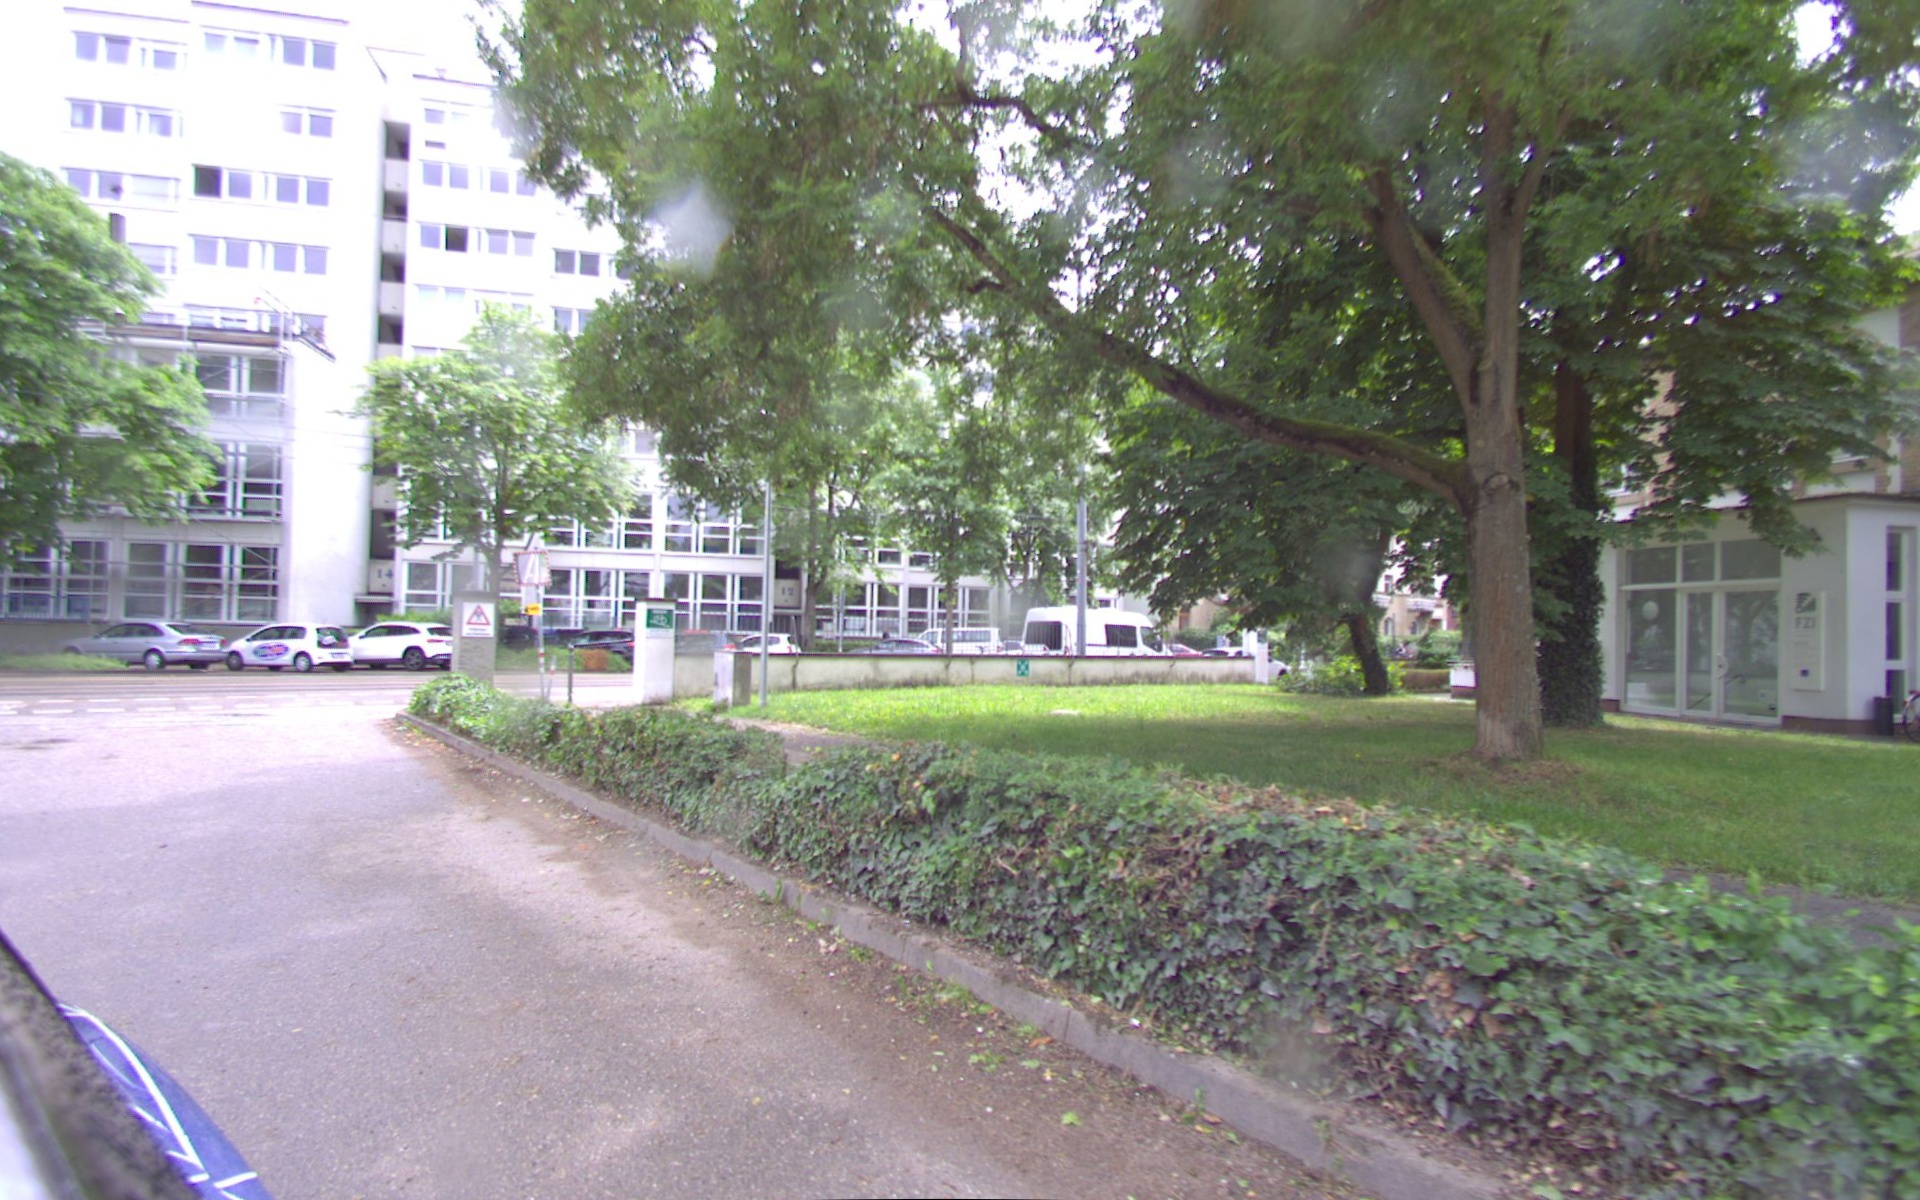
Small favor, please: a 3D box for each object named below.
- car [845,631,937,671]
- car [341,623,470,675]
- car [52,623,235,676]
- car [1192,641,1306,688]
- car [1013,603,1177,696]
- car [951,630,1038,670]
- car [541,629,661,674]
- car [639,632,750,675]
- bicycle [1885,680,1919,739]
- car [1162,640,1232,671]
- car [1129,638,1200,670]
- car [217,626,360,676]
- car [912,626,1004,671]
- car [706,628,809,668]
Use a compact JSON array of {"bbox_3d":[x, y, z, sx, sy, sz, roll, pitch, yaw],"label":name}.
[{"bbox_3d":[-3.104,2.328,45.752,4.025,1.663,1.791,2,-4,-2],"label":"car"},{"bbox_3d":[-18.152,1.609,33.204,3.350,1.615,1.703,0,-4,8],"label":"car"},{"bbox_3d":[-23.548,1.443,29.271,3.948,1.426,1.721,1,-4,4],"label":"car"},{"bbox_3d":[10.236,2.276,35.723,4.076,1.534,1.915,4,-4,-39],"label":"car"},{"bbox_3d":[4.196,1.565,30.973,5.000,2.601,2.098,4,-4,-39],"label":"car"},{"bbox_3d":[1.720,2.446,49.498,4.038,1.820,1.785,1,-4,9],"label":"car"},{"bbox_3d":[-13.254,1.918,37.441,3.737,1.517,1.785,1,-4,9],"label":"car"},{"bbox_3d":[-10.255,2.084,39.207,3.737,1.517,1.785,1,-4,9],"label":"car"},{"bbox_3d":[14.557,1.580,14.739,2.023,0.805,0.454,1,-1,-10],"label":"bicycle"},{"bbox_3d":[13.918,3.272,59.649,3.843,1.687,1.746,1,-4,9],"label":"car"},{"bbox_3d":[11.616,3.068,57.618,3.843,1.687,1.746,1,-4,9],"label":"car"},{"bbox_3d":[-20.510,1.560,30.977,3.350,1.456,1.650,0,-4,8],"label":"car"},{"bbox_3d":[-0.073,2.298,47.514,4.038,1.947,1.785,1,-4,9],"label":"car"},{"bbox_3d":[-8.288,1.979,41.522,3.737,1.517,1.785,1,-4,9],"label":"car"}]
